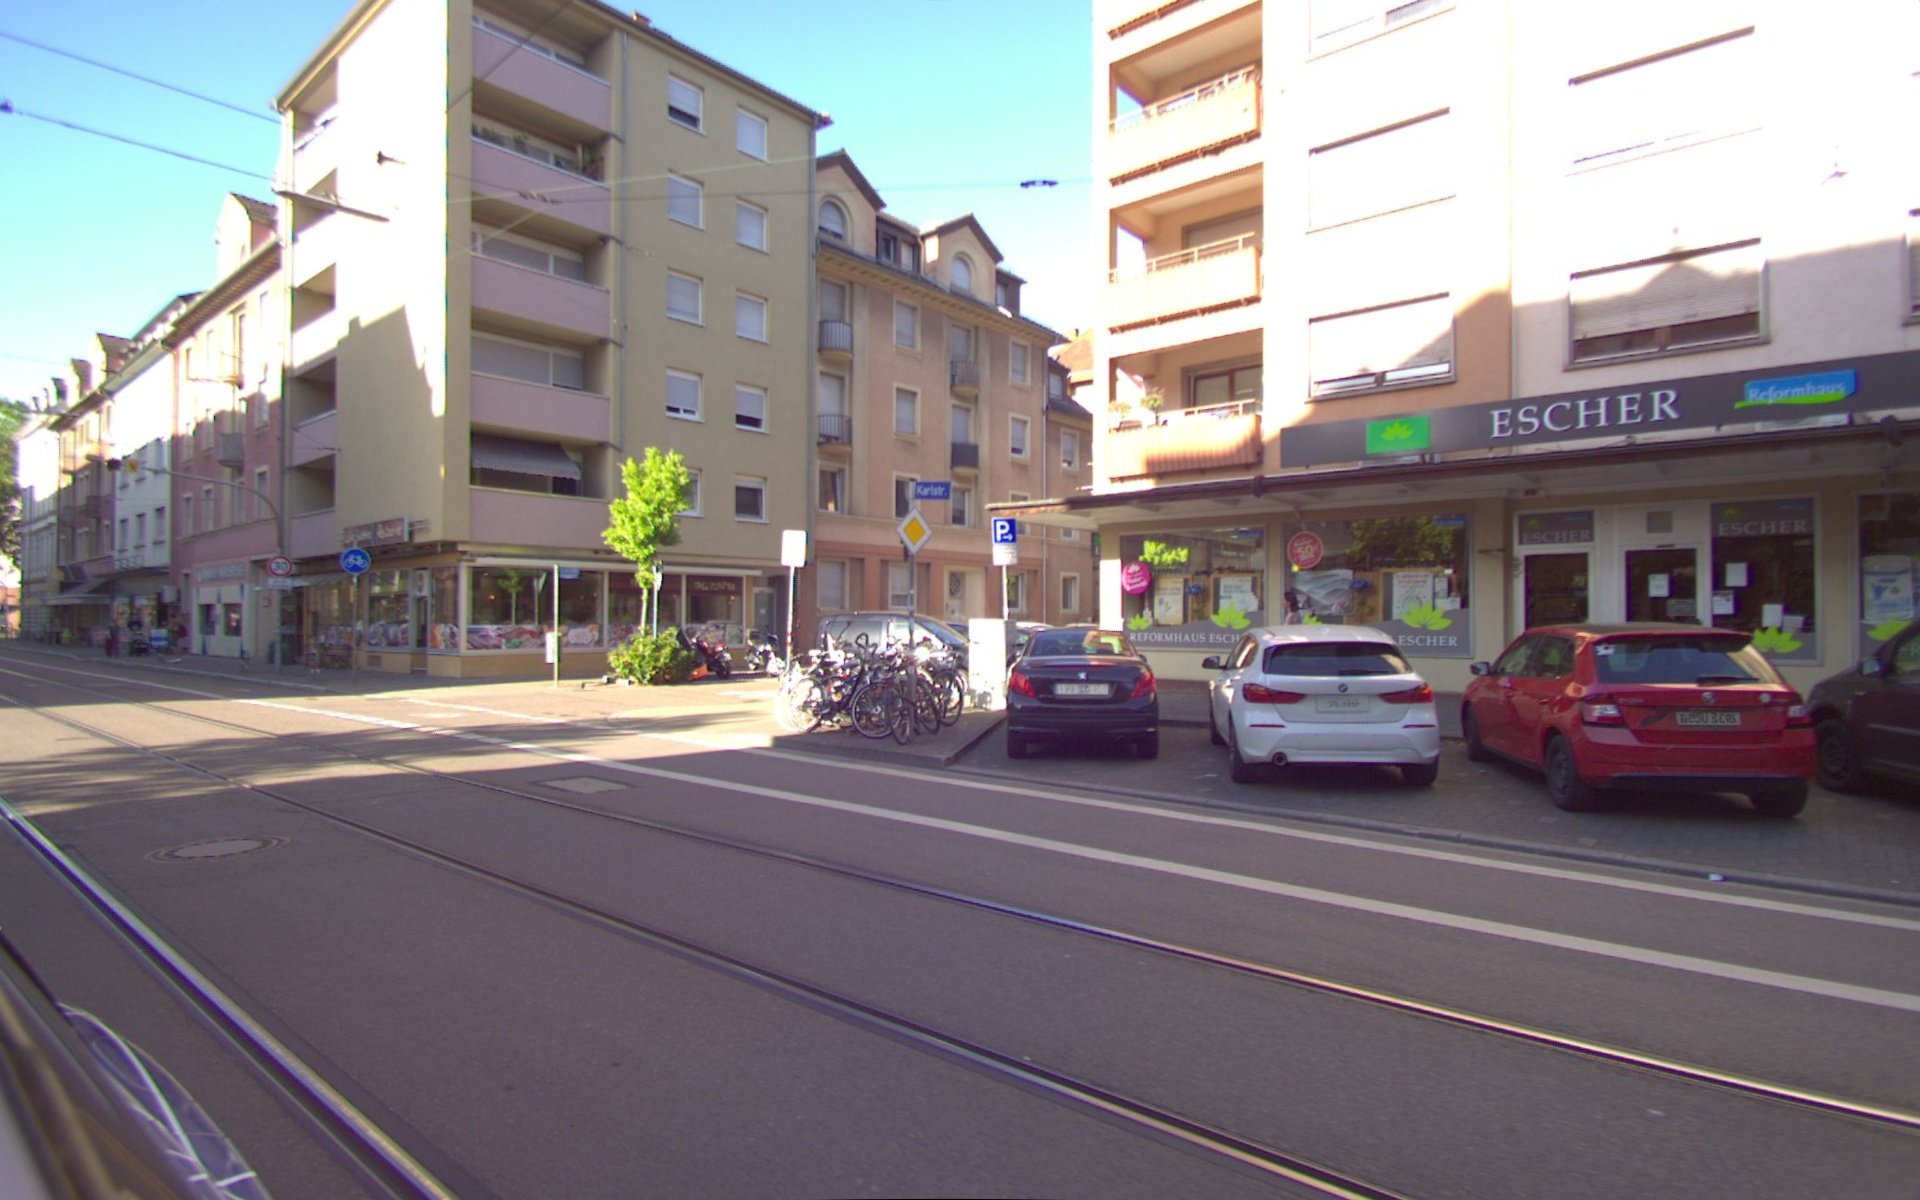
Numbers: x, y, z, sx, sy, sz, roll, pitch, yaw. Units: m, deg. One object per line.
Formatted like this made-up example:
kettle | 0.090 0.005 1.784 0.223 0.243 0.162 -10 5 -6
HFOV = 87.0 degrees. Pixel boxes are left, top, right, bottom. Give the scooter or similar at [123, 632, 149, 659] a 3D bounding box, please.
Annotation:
scooter or similar | -33.937 1.874 41.684 1.104 1.069 0.655 -2 -1 41

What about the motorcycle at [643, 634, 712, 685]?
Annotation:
motorcycle | -7.282 1.503 26.041 2.175 1.219 0.613 -1 -1 41

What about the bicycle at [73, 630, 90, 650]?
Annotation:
bicycle | -48.981 2.215 56.413 2.328 1.068 0.420 -1 -1 41

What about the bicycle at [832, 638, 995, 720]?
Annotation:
bicycle | -0.726 1.181 15.476 2.396 1.118 0.685 -2 -2 -9

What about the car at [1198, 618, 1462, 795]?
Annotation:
car | 3.520 0.921 10.342 1.734 1.410 3.783 0 0 8

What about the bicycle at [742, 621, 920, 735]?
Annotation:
bicycle | -1.676 0.981 12.841 2.431 1.330 0.675 -4 -3 37

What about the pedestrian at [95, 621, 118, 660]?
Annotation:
pedestrian | -34.978 1.660 41.492 0.623 1.560 0.629 -1 -1 40

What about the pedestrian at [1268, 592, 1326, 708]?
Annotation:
pedestrian | 4.976 0.718 14.953 0.641 1.665 0.563 -1 -1 41

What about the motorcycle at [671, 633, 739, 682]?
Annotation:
motorcycle | -6.731 1.490 26.600 2.175 1.219 0.613 -1 -1 41

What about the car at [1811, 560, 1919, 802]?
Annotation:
car | 7.887 0.605 6.669 1.777 1.798 3.811 0 1 10

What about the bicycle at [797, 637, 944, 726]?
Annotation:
bicycle | -1.222 1.112 13.918 1.867 1.132 0.681 -3 -2 10

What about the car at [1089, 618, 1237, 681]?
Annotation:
car | 5.789 1.414 29.301 3.951 1.568 1.688 -4 -1 6

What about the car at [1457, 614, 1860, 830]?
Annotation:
car | 5.739 0.891 8.858 1.631 1.484 3.458 -1 -1 12

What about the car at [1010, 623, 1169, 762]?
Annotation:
car | 1.512 0.985 12.099 1.605 1.347 3.464 0 0 7

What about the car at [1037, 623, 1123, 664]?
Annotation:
car | 4.960 1.736 41.475 1.793 1.522 3.820 -1 -1 38

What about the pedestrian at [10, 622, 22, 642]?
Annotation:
pedestrian | -89.728 3.022 96.185 0.809 1.861 0.784 -1 -1 44

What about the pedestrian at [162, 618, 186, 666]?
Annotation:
pedestrian | -28.002 1.493 36.060 0.616 1.698 0.557 -1 -1 39

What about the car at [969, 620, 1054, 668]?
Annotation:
car | 1.876 1.514 35.883 1.785 1.522 3.839 -1 0 24

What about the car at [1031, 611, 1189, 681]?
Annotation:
car | 3.934 1.205 26.953 3.951 1.468 1.689 -4 3 6

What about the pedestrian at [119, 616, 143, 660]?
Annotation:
pedestrian | -34.707 1.576 42.366 0.820 1.803 0.619 -1 -1 41

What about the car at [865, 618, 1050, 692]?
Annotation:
car | -0.007 1.252 23.407 3.957 1.403 1.843 -4 -1 11

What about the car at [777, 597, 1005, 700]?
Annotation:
car | -1.429 1.058 20.977 4.324 1.831 1.837 -4 -5 20

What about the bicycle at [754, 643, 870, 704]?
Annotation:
bicycle | -2.937 1.446 19.889 2.429 1.118 0.676 -4 -3 35
